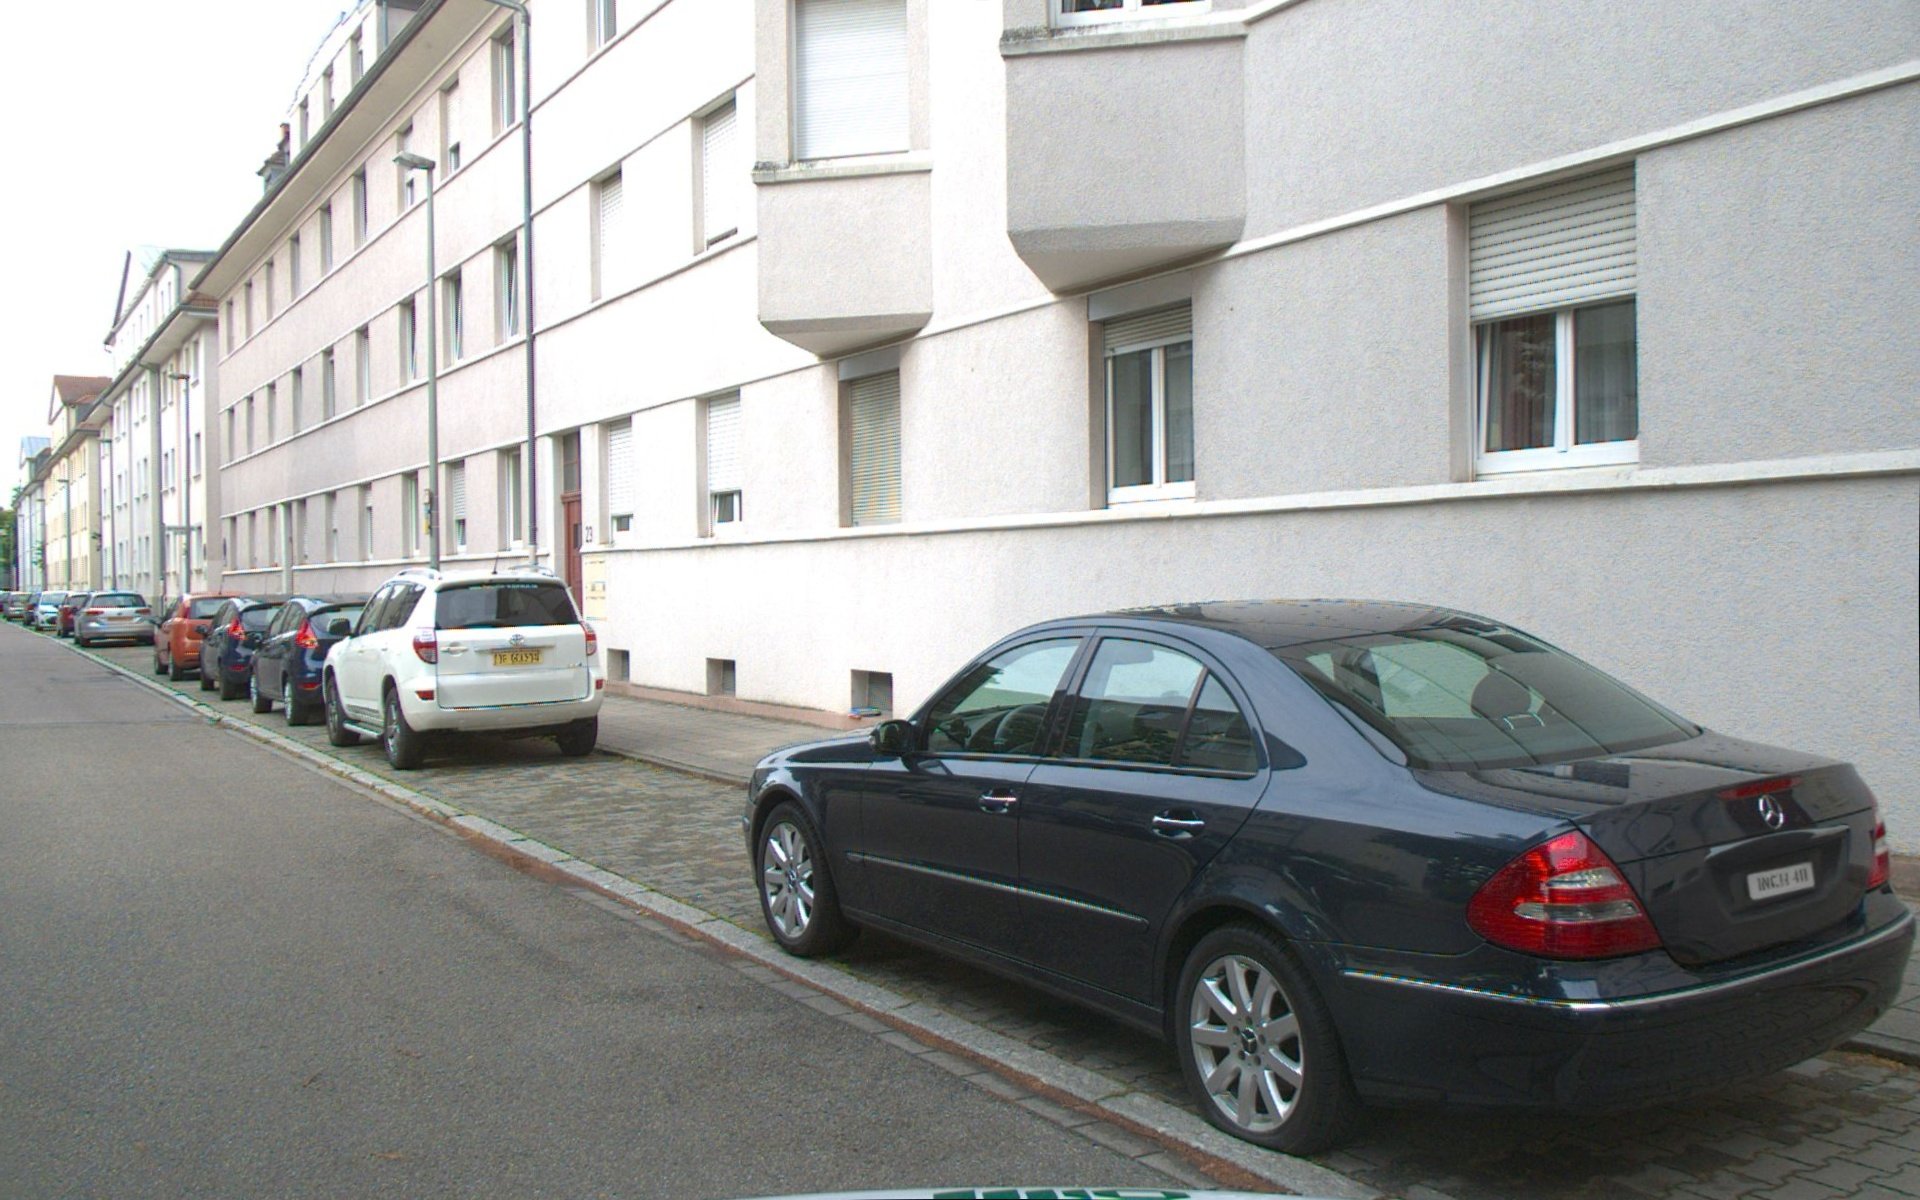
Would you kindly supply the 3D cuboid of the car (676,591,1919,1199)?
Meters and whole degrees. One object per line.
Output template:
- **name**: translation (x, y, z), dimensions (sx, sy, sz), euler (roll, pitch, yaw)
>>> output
- **car**: translation (0.775, 0.731, 5.884), dimensions (1.729, 1.445, 4.893), euler (-2, 2, -33)

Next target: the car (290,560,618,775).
- **car**: translation (-4.922, 0.519, 15.692), dimensions (1.826, 1.703, 4.239), euler (-2, 2, -34)

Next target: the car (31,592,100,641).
- **car**: translation (-29.274, 0.502, 54.082), dimensions (1.655, 1.444, 3.955), euler (-3, 2, -33)

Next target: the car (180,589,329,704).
- **car**: translation (-10.554, 0.623, 24.630), dimensions (1.551, 1.499, 3.658), euler (-3, 2, -30)

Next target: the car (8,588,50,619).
- **car**: translation (-49.717, 0.179, 88.300), dimensions (1.802, 1.604, 3.841), euler (0, 0, -32)

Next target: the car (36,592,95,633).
- **car**: translation (-34.716, 0.469, 64.152), dimensions (1.802, 1.531, 3.711), euler (0, 0, -32)

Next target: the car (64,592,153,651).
- **car**: translation (-23.305, 0.546, 45.195), dimensions (1.739, 1.493, 4.548), euler (0, 0, -33)

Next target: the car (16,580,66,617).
- **car**: translation (-41.137, -0.071, 73.996), dimensions (1.802, 1.604, 3.711), euler (0, 0, -32)

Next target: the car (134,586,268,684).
- **car**: translation (-13.439, 0.560, 29.199), dimensions (1.680, 1.551, 3.784), euler (-2, 2, -32)

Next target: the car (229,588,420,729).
- **car**: translation (-7.838, 0.627, 20.202), dimensions (1.551, 1.504, 3.830), euler (-1, 1, -31)
